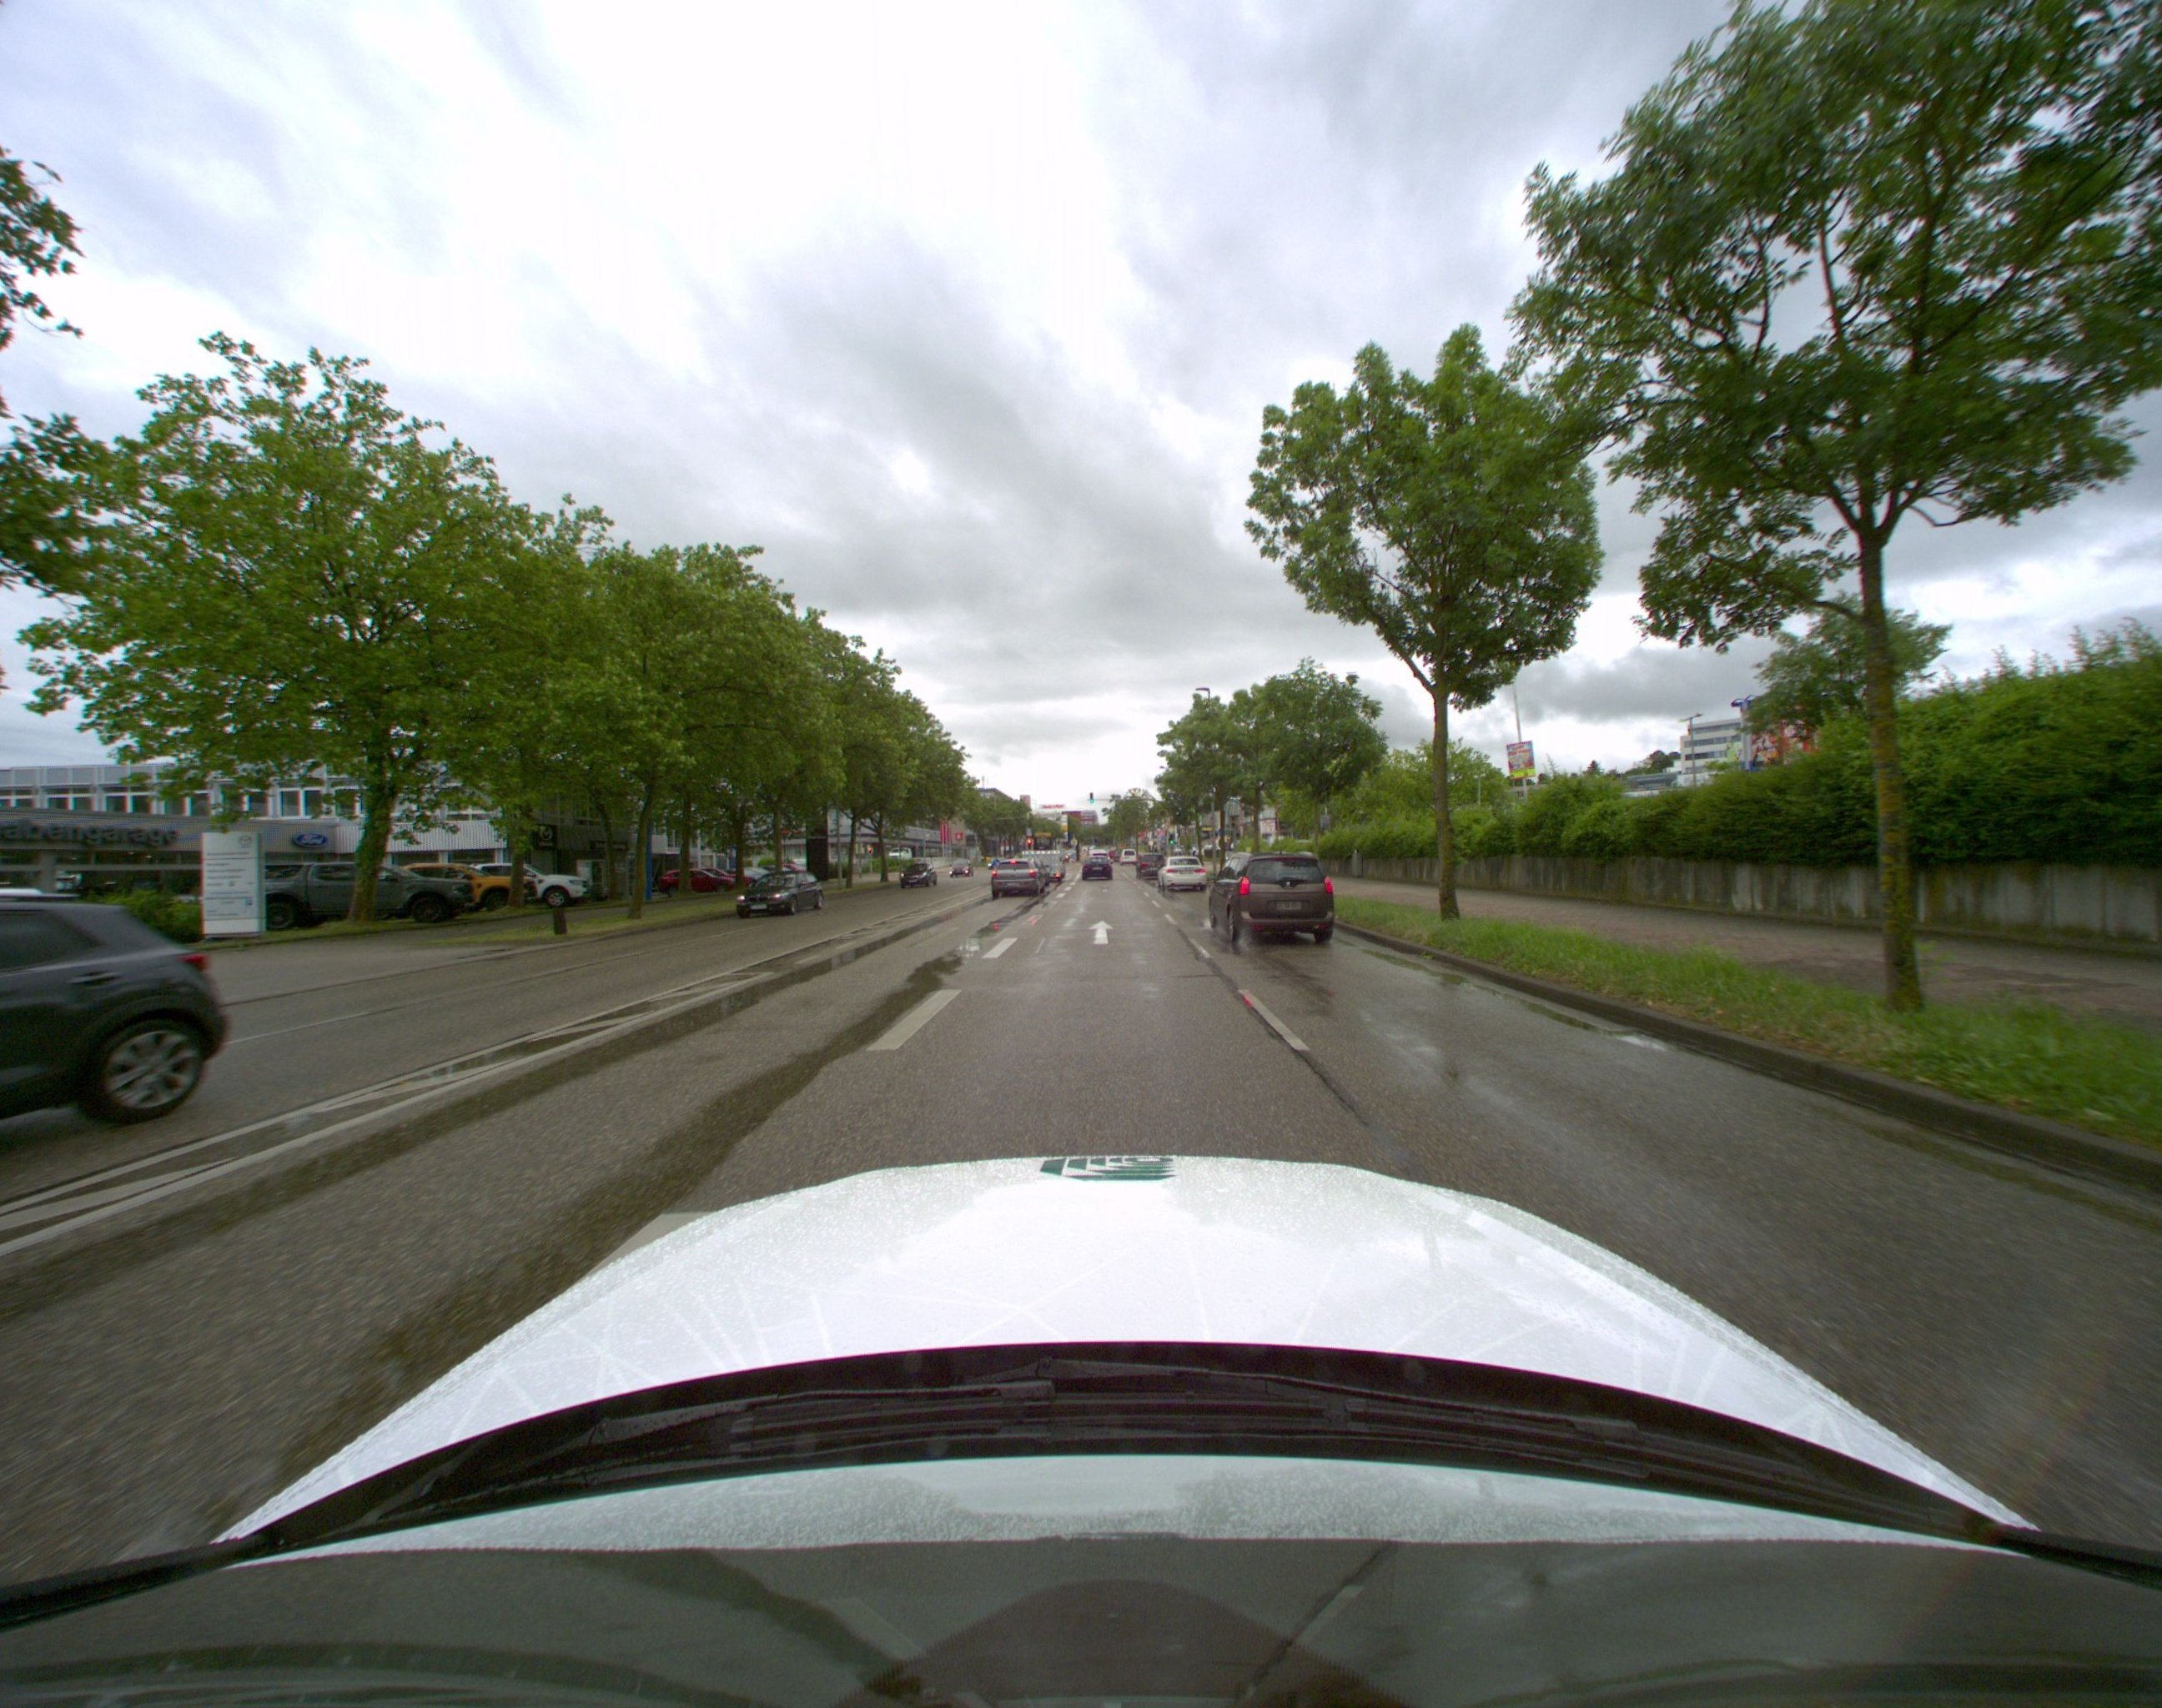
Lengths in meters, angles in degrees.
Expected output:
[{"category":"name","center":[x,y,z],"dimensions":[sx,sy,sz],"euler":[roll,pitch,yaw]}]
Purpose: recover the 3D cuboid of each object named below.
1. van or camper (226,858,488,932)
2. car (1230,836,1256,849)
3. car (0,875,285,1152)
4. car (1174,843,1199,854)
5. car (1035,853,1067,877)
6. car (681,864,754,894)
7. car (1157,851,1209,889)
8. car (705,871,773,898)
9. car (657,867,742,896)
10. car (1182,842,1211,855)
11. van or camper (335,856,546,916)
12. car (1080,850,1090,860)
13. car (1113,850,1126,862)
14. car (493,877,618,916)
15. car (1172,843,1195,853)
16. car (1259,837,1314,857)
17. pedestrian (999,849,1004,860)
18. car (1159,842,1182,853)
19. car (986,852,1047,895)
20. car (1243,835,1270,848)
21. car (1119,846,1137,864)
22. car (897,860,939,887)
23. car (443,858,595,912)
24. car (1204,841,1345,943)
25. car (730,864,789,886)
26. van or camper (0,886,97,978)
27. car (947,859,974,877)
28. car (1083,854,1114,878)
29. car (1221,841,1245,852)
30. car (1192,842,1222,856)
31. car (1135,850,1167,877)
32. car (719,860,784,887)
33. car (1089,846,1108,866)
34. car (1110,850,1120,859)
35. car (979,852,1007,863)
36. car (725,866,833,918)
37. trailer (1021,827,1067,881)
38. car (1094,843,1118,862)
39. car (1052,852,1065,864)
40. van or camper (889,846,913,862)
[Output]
[{"category":"van or camper","center":[-21.169,1.132,24.194],"dimensions":[5.308,1.821,2.248],"euler":[-2,0,-25]},{"category":"car","center":[25.686,-1.829,129.236],"dimensions":[4.175,1.771,1.718],"euler":[-2,0,-39]},{"category":"car","center":[-6.718,0.923,3.907],"dimensions":[1.661,1.462,4.179],"euler":[-3,0,-1]},{"category":"car","center":[16.348,-0.831,126.205],"dimensions":[3.617,1.536,1.625],"euler":[-2,0,-39]},{"category":"car","center":[-1.969,0.715,54.741],"dimensions":[1.759,1.458,4.782],"euler":[-2,0,1]},{"category":"car","center":[-23.684,1.599,53.268],"dimensions":[4.236,1.653,1.997],"euler":[-3,0,-22]},{"category":"car","center":[4.305,0.650,35.033],"dimensions":[1.794,1.544,4.622],"euler":[0,0,2]},{"category":"car","center":[-23.775,2.104,56.792],"dimensions":[4.236,1.596,1.985],"euler":[-3,0,-22]},{"category":"car","center":[-23.284,1.672,49.892],"dimensions":[4.571,1.596,1.986],"euler":[-1,0,-22]},{"category":"car","center":[17.100,-0.836,120.447],"dimensions":[4.047,1.662,1.960],"euler":[-5,2,-39]},{"category":"van or camper","center":[-22.102,1.115,28.430],"dimensions":[5.379,1.770,2.089],"euler":[-2,-3,-22]},{"category":"car","center":[0.830,0.222,178.015],"dimensions":[1.986,2.014,4.002],"euler":[0,-1,2]},{"category":"car","center":[5.305,0.295,111.941],"dimensions":[1.678,1.684,3.404],"euler":[0,-1,2]},{"category":"car","center":[-23.395,1.855,36.506],"dimensions":[4.479,1.450,1.982],"euler":[-2,0,-28]},{"category":"car","center":[16.870,-0.989,133.902],"dimensions":[3.617,1.536,1.776],"euler":[-3,1,-39]},{"category":"car","center":[16.292,-0.572,64.587],"dimensions":[3.970,1.442,1.657],"euler":[-2,0,3]},{"category":"pedestrian","center":[-16.201,0.093,166.031],"dimensions":[0.856,2.218,0.845],"euler":[-2,0,-2]},{"category":"car","center":[17.111,-1.312,155.705],"dimensions":[4.094,1.904,1.801],"euler":[-2,0,2]},{"category":"car","center":[-2.571,0.734,33.482],"dimensions":[1.900,1.578,4.882],"euler":[-2,0,1]},{"category":"car","center":[25.793,-1.894,119.560],"dimensions":[4.177,1.771,1.717],"euler":[-2,0,-42]},{"category":"car","center":[5.274,0.093,91.185],"dimensions":[1.776,1.866,4.000],"euler":[-2,0,1]},{"category":"car","center":[-10.011,1.157,50.163],"dimensions":[1.704,1.465,4.084],"euler":[-3,0,0]},{"category":"car","center":[-21.724,1.162,31.706],"dimensions":[4.471,1.816,1.986],"euler":[-2,0,-22]},{"category":"car","center":[3.547,0.627,15.735],"dimensions":[1.720,1.624,4.472],"euler":[-2,0,2]},{"category":"car","center":[-24.103,1.565,61.102],"dimensions":[3.732,1.391,1.688],"euler":[-2,0,-4]},{"category":"van or camper","center":[-23.659,1.664,17.670],"dimensions":[4.589,1.784,1.850],"euler":[-2,0,26]},{"category":"car","center":[-10.395,1.174,70.613],"dimensions":[1.704,1.465,4.084],"euler":[-3,0,0]},{"category":"car","center":[1.048,0.711,50.042],"dimensions":[1.775,1.398,4.000],"euler":[-1,0,1]},{"category":"car","center":[25.421,-1.195,135.916],"dimensions":[3.995,1.720,1.615],"euler":[-2,0,-39]},{"category":"car","center":[16.782,-0.670,108.324],"dimensions":[1.908,1.576,4.314],"euler":[-2,0,42]},{"category":"car","center":[4.340,0.570,51.161],"dimensions":[1.794,1.587,4.453],"euler":[0,0,2]},{"category":"car","center":[-24.127,1.409,59.697],"dimensions":[4.236,1.596,1.985],"euler":[-4,1,-22]},{"category":"car","center":[1.866,0.203,85.749],"dimensions":[1.986,2.014,4.001],"euler":[0,-1,1]},{"category":"car","center":[5.864,0.162,139.771],"dimensions":[1.689,1.443,3.991],"euler":[-2,-1,2]},{"category":"car","center":[-13.792,0.526,127.638],"dimensions":[3.948,1.552,1.912],"euler":[-2,1,35]},{"category":"car","center":[-9.918,1.184,27.153],"dimensions":[1.730,1.429,4.539],"euler":[-3,0,2]},{"category":"trailer","center":[-2.110,-0.003,48.415],"dimensions":[2.365,2.897,5.545],"euler":[-2,0,0]},{"category":"car","center":[2.054,-0.126,66.935],"dimensions":[1.678,1.377,3.997],"euler":[-2,0,-2]},{"category":"car","center":[-2.955,0.495,106.441],"dimensions":[1.678,1.377,3.997],"euler":[-2,0,-2]},{"category":"van or camper","center":[-23.383,0.013,106.144],"dimensions":[1.986,1.967,4.789],"euler":[0,-1,1]}]
